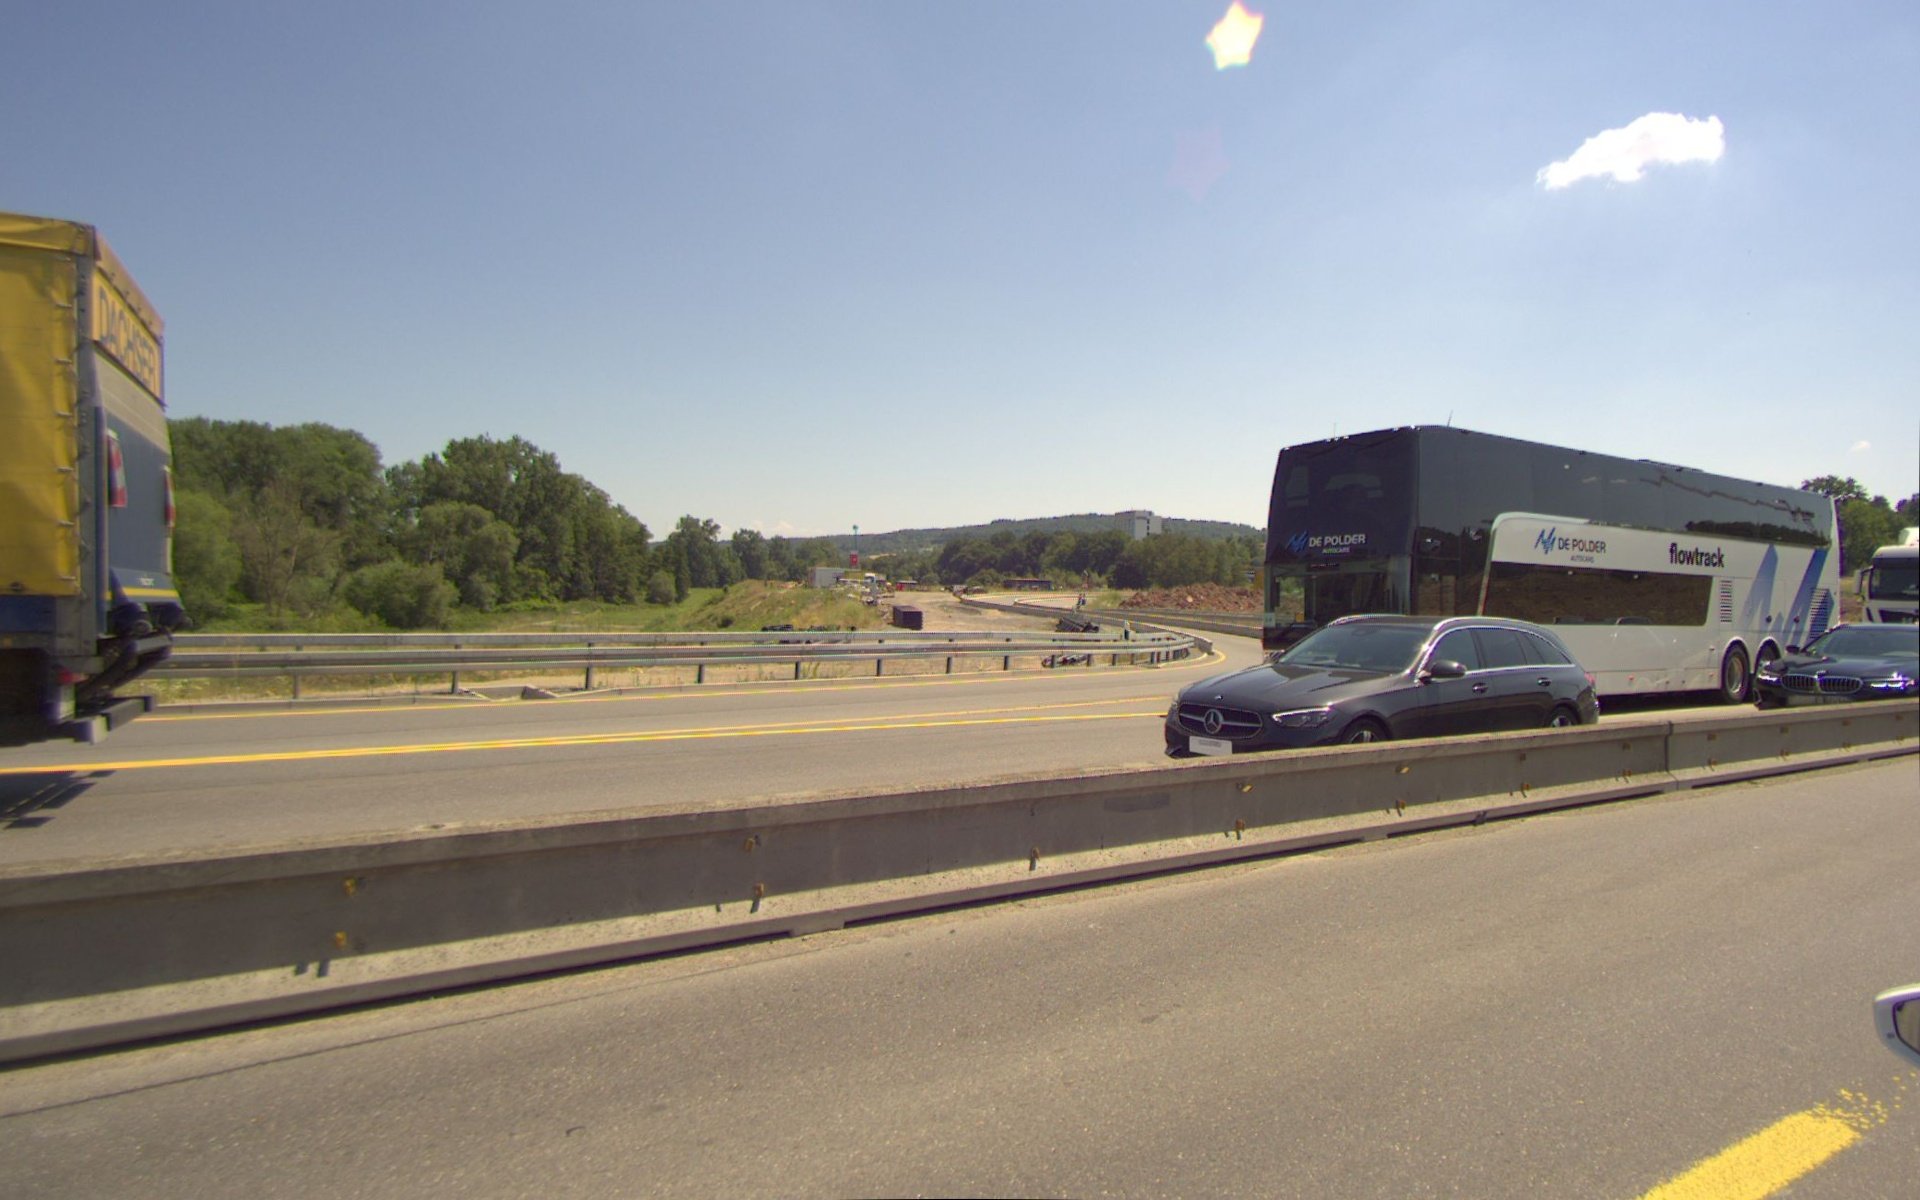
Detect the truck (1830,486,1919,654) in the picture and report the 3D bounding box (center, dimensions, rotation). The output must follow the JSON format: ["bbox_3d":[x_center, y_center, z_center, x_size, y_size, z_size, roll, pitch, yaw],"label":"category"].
[{"bbox_3d":[27.021,-0.781,27.403,6.625,4.254,3.081,0,1,-31],"label":"truck"}]

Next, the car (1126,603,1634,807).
[{"bbox_3d":[3.997,0.789,9.268,4.873,1.463,1.829,1,-1,-31],"label":"car"}]

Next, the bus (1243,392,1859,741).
[{"bbox_3d":[10.974,-0.326,17.326,14.310,4.321,2.725,1,0,-31],"label":"bus"}]

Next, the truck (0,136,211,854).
[{"bbox_3d":[-10.061,-0.668,4.898,9.961,4.208,2.788,1,1,-31],"label":"truck"}]

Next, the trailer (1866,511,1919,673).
[{"bbox_3d":[32.451,-0.201,30.778,13.917,4.442,3.124,0,0,-32],"label":"trailer"}]

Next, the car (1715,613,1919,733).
[{"bbox_3d":[13.681,0.976,15.166,5.032,1.442,1.908,0,2,-31],"label":"car"}]
